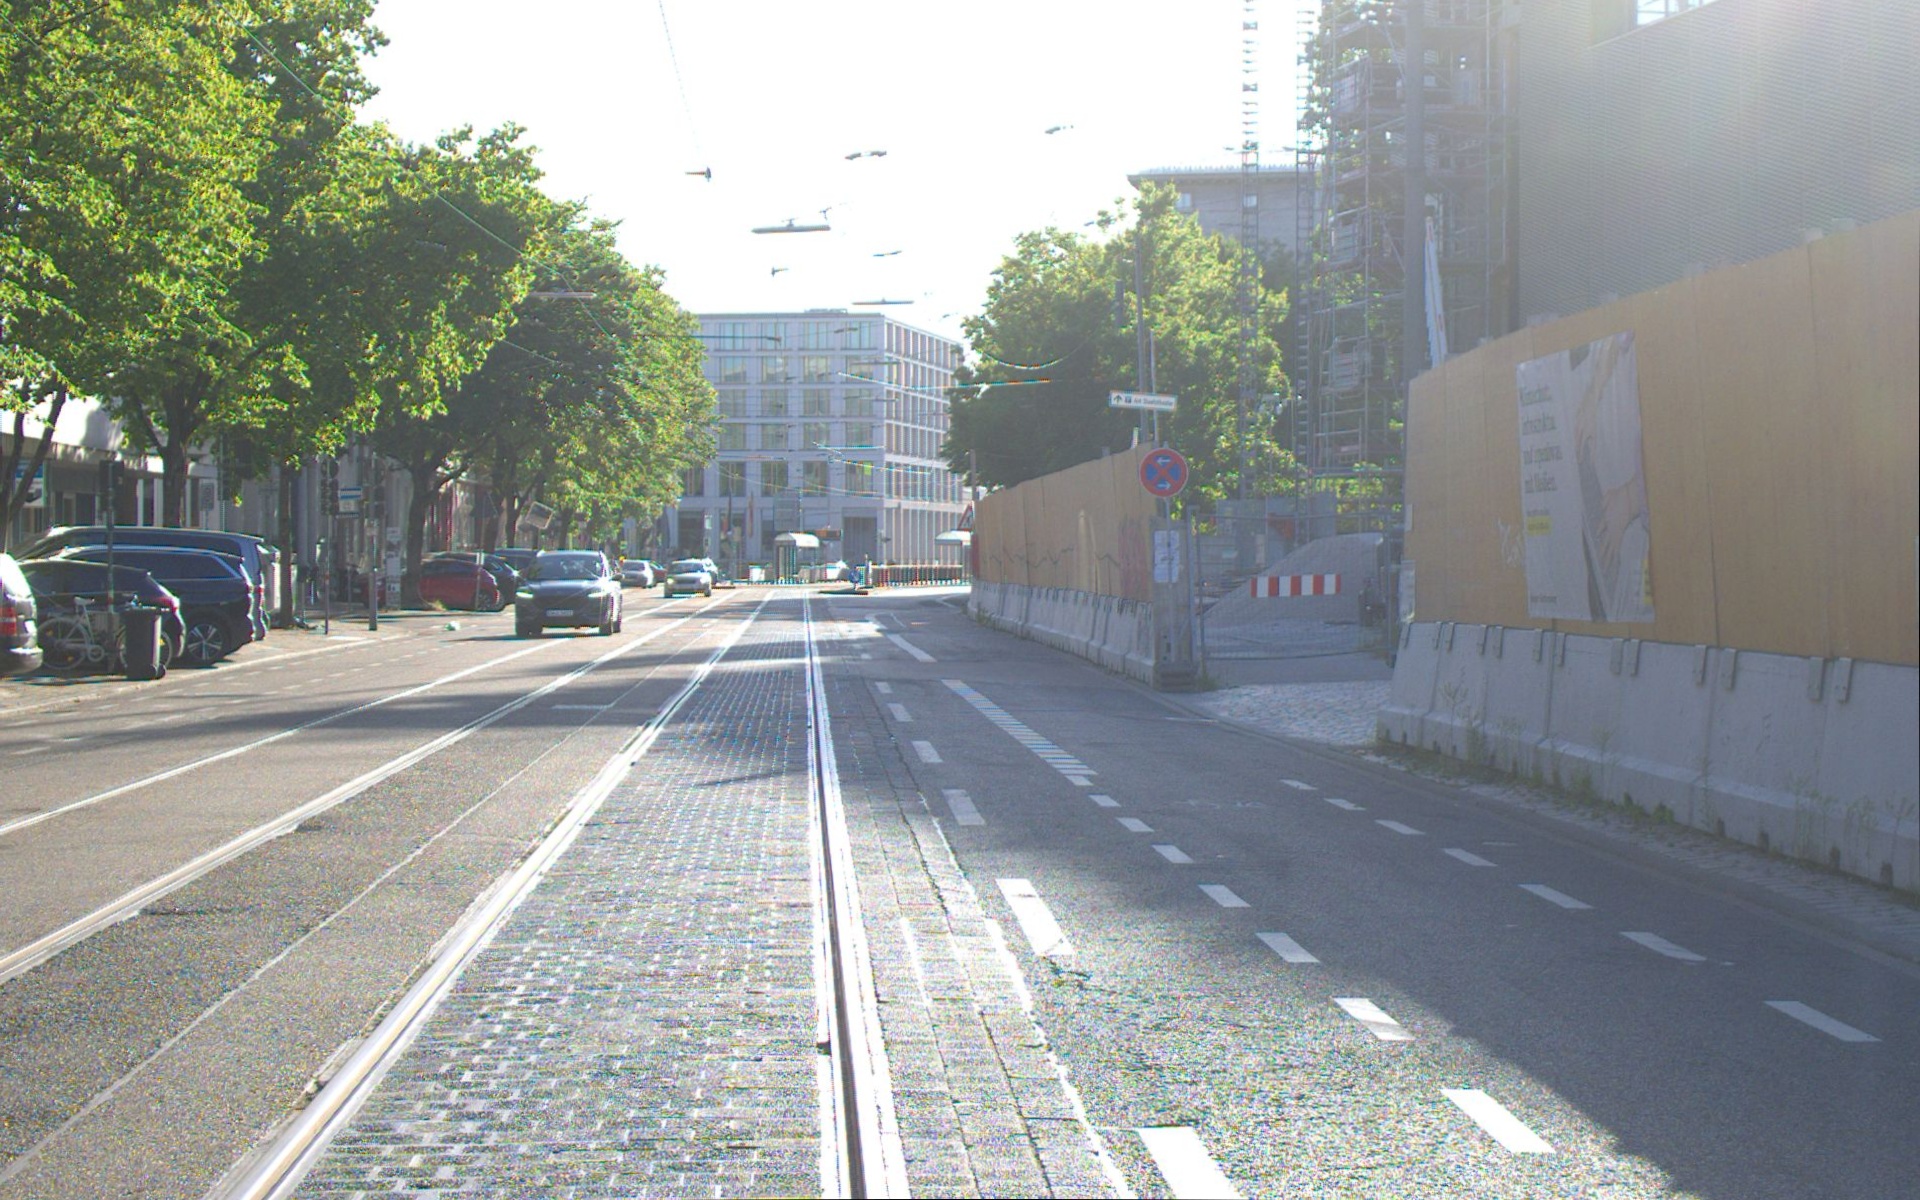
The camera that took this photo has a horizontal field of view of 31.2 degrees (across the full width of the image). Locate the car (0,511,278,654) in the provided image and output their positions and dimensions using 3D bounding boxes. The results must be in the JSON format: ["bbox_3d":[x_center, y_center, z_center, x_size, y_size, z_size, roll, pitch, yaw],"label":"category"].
[{"bbox_3d":[-12.558,-0.261,51.190,4.353,1.980,1.950,2,0,-24],"label":"car"}]

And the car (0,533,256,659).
[{"bbox_3d":[-12.318,-0.065,48.836,4.234,1.679,1.811,-1,1,-23],"label":"car"}]

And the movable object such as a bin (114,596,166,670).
[{"bbox_3d":[-10.506,0.424,44.026,0.575,0.910,0.575,2,2,-18],"label":"movable object such as a bin"}]

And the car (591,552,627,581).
[{"bbox_3d":[-17.804,-1.712,174.594,1.572,1.485,4.000,0,1,-2],"label":"car"}]

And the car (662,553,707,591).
[{"bbox_3d":[-10.694,-1.099,133.234,1.709,1.431,4.172,0,1,-5],"label":"car"}]

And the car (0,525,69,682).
[{"bbox_3d":[-12.080,-0.044,37.819,4.103,1.672,1.841,2,1,-5],"label":"car"}]

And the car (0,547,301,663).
[{"bbox_3d":[-10.969,0.042,46.312,3.855,1.471,1.844,-1,1,-20],"label":"car"}]

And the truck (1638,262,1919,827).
[{"bbox_3d":[5.961,-0.387,20.495,2.519,2.899,5.507,-3,1,-1],"label":"truck"}]

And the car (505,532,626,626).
[{"bbox_3d":[-7.652,-0.441,67.091,1.927,1.624,4.249,-3,2,-2],"label":"car"}]

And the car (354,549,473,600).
[{"bbox_3d":[-14.897,-0.708,93.757,2.933,1.327,1.215,-1,1,-30],"label":"car"}]

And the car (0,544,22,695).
[{"bbox_3d":[-11.681,0.141,34.371,4.103,1.507,1.841,1,1,-29],"label":"car"}]

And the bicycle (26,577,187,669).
[{"bbox_3d":[-11.068,0.295,44.590,1.965,1.140,0.493,1,0,-20],"label":"bicycle"}]
